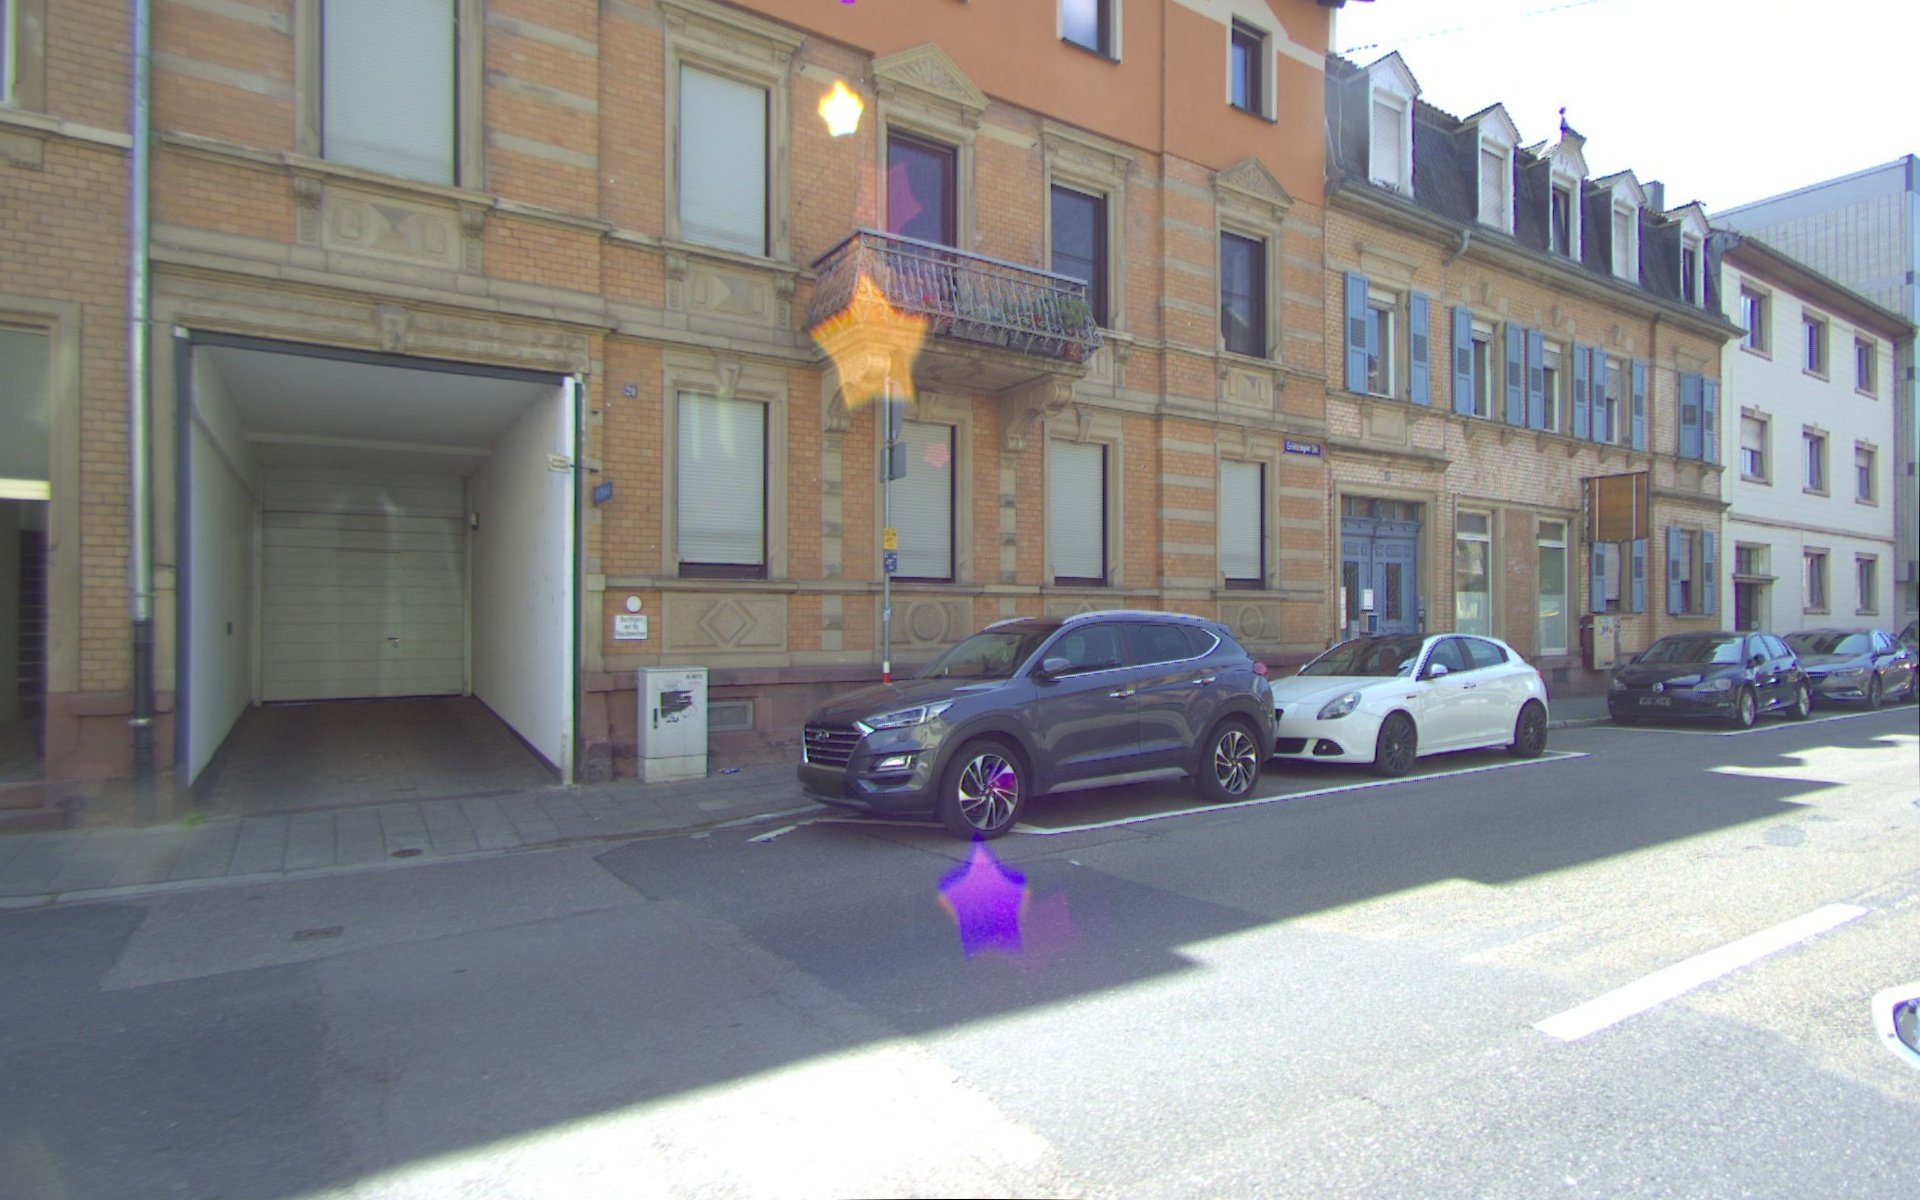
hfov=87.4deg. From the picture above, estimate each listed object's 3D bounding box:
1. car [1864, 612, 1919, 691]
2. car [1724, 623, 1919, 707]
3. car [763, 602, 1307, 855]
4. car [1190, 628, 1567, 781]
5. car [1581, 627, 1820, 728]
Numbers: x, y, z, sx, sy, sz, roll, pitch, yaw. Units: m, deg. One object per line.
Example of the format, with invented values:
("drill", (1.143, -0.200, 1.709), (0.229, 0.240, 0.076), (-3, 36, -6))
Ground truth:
("car", (22.357, 1.122, 22.539), (4.765, 1.662, 1.875), (1, -2, -32))
("car", (16.540, 1.204, 19.083), (4.790, 1.424, 1.853), (1, -4, -36))
("car", (0.762, 0.939, 8.614), (4.454, 1.649, 1.854), (1, -4, -34))
("car", (4.845, 1.082, 11.463), (4.284, 1.444, 1.855), (1, -4, -33))
("car", (11.966, 1.194, 16.146), (4.289, 1.424, 1.853), (1, -4, -36))
